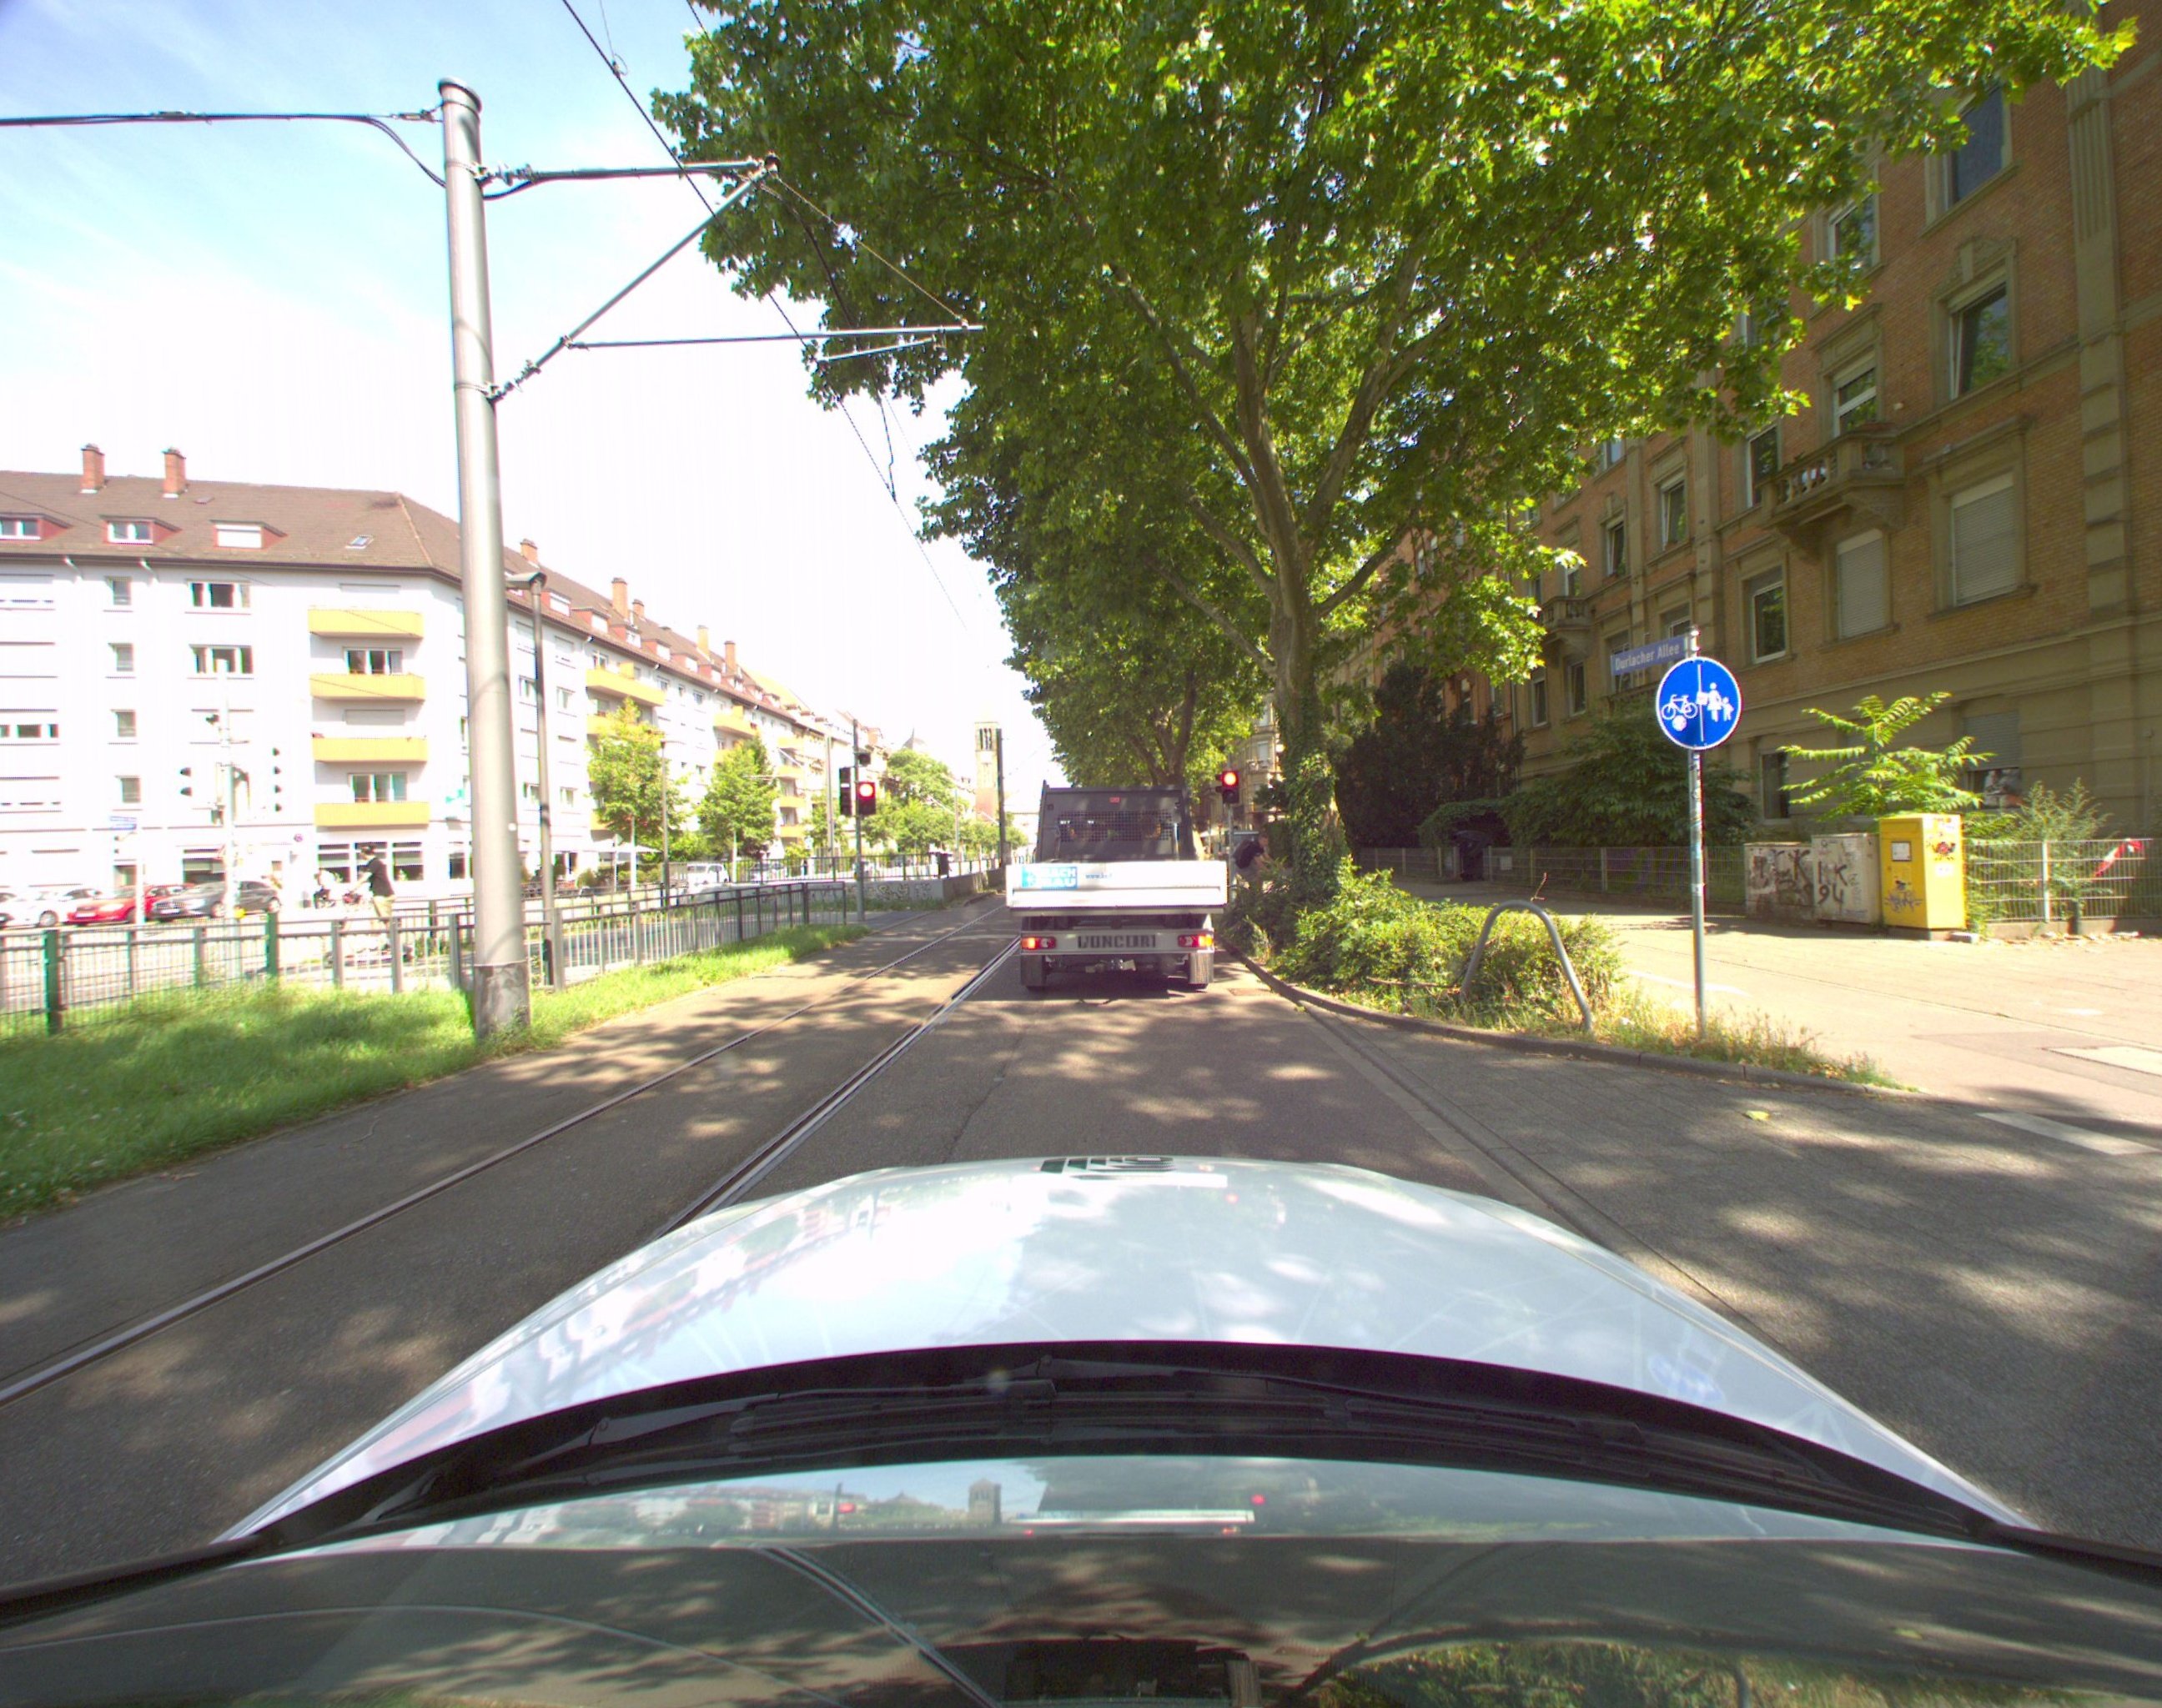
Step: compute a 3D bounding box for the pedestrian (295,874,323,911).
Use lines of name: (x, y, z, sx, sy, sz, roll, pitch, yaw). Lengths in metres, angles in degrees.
pedestrian: (-33.326, 1.653, 35.145, 0.690, 1.572, 0.542, -2, 0, -22)

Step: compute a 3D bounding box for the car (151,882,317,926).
car: (-33.132, 1.896, 32.093, 1.830, 1.376, 4.637, -2, 0, -4)

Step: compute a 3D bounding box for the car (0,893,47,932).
car: (-41.828, 2.281, 30.143, 1.930, 1.406, 4.158, -2, 0, -6)

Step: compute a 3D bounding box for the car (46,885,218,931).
car: (-36.490, 2.022, 31.518, 1.930, 1.406, 4.158, -2, 0, -6)

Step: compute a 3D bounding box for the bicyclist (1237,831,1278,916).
bicyclist: (3.491, 0.379, 16.165, 0.689, 1.623, 0.626, -2, 0, 6)

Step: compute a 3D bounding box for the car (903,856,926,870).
car: (-19.390, 1.002, 94.970, 1.764, 1.498, 4.000, -2, 0, 0)

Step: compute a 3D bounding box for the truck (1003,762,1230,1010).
truck: (0.437, 0.287, 9.854, 2.130, 2.319, 4.404, 0, 0, 3)

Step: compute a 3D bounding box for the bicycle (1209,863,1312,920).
bicycle: (3.540, 0.740, 16.163, 1.910, 1.049, 0.533, -2, 0, 5)

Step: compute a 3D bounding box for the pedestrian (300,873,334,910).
pedestrian: (-33.532, 1.622, 35.742, 0.861, 1.572, 0.685, -2, 0, -22)

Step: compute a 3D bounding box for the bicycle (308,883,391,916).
bicycle: (-30.069, 1.851, 33.559, 0.908, 1.137, 2.807, -2, 0, -2)

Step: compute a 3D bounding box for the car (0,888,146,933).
car: (-39.277, 2.132, 31.348, 1.930, 1.406, 4.158, -2, 0, -6)

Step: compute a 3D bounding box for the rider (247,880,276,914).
rider: (-35.206, 1.840, 34.984, 0.624, 1.423, 0.587, -2, 0, -15)

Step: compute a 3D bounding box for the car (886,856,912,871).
car: (-19.465, 1.036, 87.129, 1.764, 1.498, 4.000, -2, 0, 0)

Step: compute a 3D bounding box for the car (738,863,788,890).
car: (-20.300, 1.388, 52.119, 1.767, 1.498, 3.994, -4, 0, -4)

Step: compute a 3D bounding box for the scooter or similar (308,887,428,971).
scooter or similar: (-11.495, 1.186, 13.170, 1.271, 1.204, 0.653, -2, 0, -20)

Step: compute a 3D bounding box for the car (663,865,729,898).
car: (-20.511, 1.428, 43.538, 1.767, 1.498, 3.994, -4, 0, -4)

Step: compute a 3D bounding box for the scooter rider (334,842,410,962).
scooter rider: (-11.462, 0.751, 13.188, 0.669, 1.867, 0.660, -2, 0, -19)

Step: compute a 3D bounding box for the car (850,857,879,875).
car: (-19.604, 1.094, 73.759, 1.767, 1.498, 3.994, -2, 0, -4)
